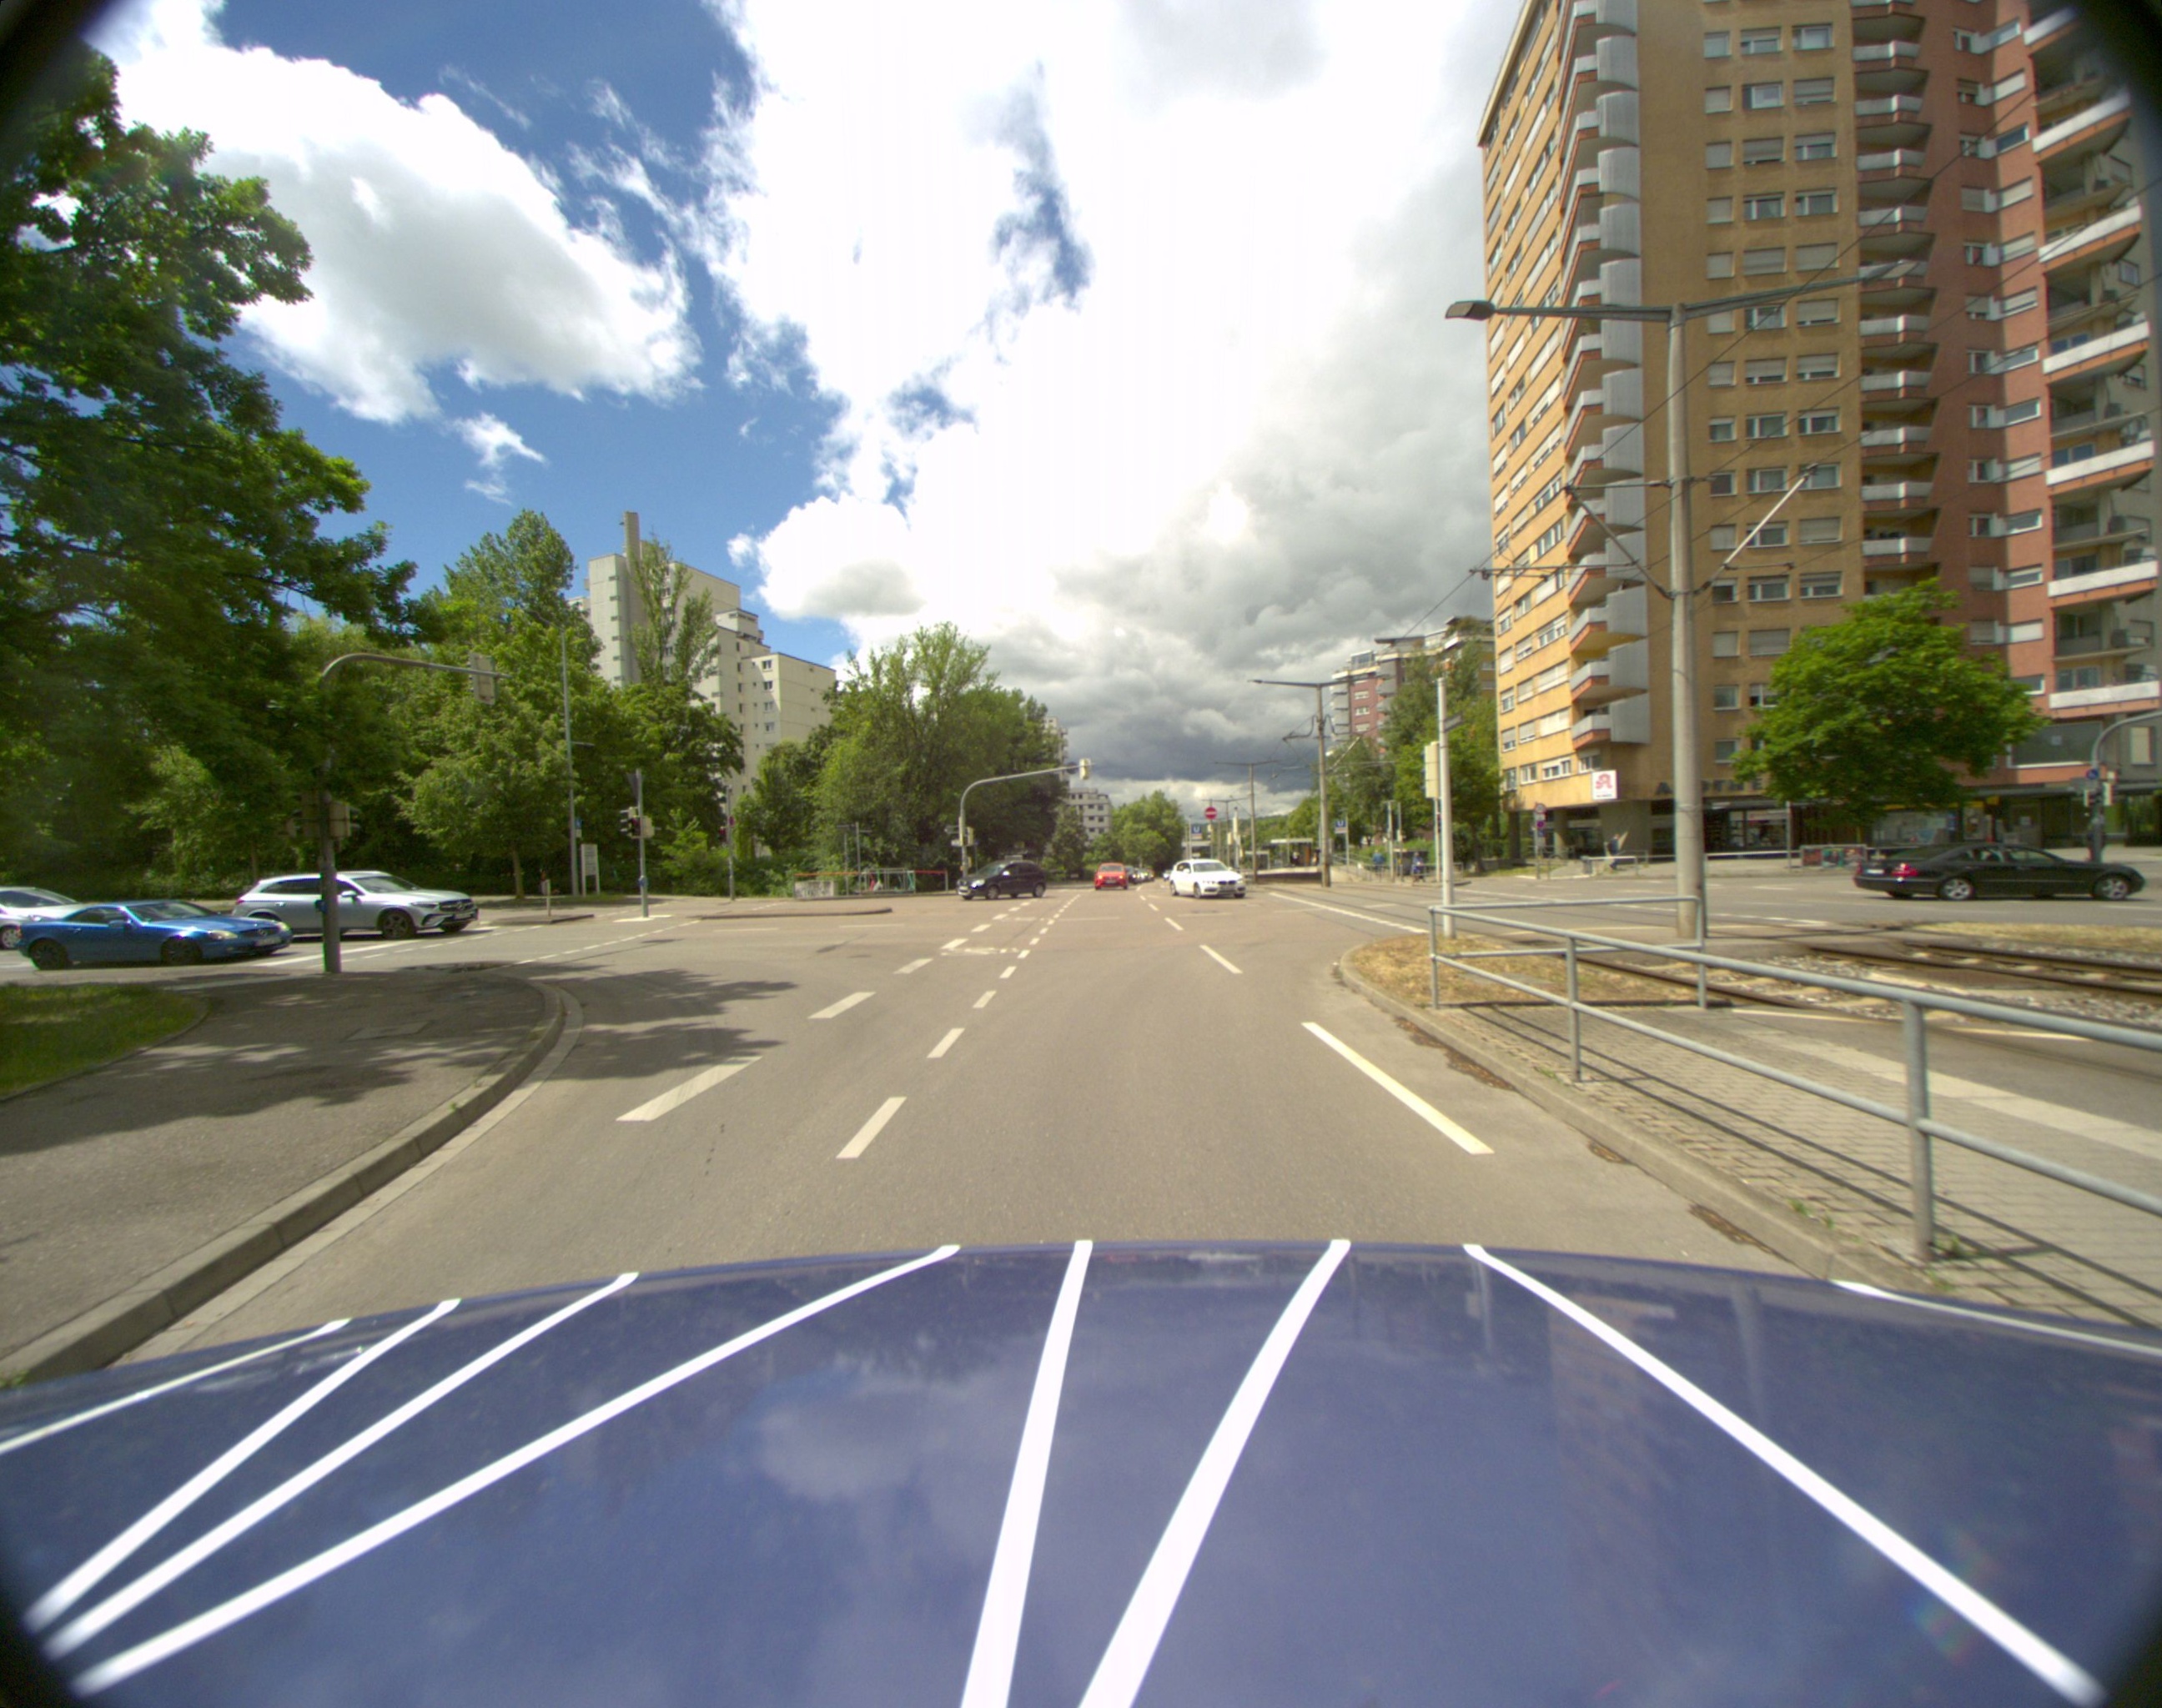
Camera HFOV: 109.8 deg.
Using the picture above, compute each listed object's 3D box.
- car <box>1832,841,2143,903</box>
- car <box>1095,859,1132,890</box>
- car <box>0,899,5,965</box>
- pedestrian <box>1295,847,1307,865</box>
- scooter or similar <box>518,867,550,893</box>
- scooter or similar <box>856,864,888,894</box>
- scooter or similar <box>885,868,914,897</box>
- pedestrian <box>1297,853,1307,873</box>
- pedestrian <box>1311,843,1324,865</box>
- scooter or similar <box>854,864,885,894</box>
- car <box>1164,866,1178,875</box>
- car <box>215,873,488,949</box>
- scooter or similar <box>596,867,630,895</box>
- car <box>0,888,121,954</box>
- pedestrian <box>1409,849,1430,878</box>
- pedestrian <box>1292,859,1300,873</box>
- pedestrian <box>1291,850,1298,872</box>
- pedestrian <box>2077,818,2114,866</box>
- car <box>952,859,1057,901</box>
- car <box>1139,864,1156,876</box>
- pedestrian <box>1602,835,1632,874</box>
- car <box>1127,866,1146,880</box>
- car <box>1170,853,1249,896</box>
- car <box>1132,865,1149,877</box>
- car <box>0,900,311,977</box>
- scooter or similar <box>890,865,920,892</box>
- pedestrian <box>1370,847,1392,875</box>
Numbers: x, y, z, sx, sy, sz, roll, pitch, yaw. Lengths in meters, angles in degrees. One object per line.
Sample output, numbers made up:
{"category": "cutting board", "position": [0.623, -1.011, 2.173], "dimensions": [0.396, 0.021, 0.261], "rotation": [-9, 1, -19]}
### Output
{"category": "car", "position": [22.180, 0.457, 18.853], "dimensions": [4.666, 1.390, 1.980], "rotation": [-1, 0, 15]}
{"category": "car", "position": [1.759, 1.075, 41.361], "dimensions": [1.819, 1.483, 4.000], "rotation": [-3, 0, 2]}
{"category": "car", "position": [-25.153, 1.730, 15.082], "dimensions": [4.402, 1.407, 1.950], "rotation": [-1, 2, -5]}
{"category": "pedestrian", "position": [19.652, 0.142, 67.985], "dimensions": [0.865, 1.596, 0.748], "rotation": [-1, 0, 4]}
{"category": "scooter or similar", "position": [-22.976, 1.105, 31.901], "dimensions": [1.113, 1.067, 0.411], "rotation": [-1, 0, 9]}
{"category": "scooter or similar", "position": [-8.667, 1.036, 31.543], "dimensions": [1.212, 1.227, 0.478], "rotation": [-1, 0, -23]}
{"category": "scooter or similar", "position": [-9.016, 1.411, 37.802], "dimensions": [1.212, 1.284, 0.534], "rotation": [-4, -3, -29]}
{"category": "pedestrian", "position": [20.690, 0.846, 71.258], "dimensions": [0.770, 1.920, 0.573], "rotation": [-1, 0, 3]}
{"category": "pedestrian", "position": [19.390, 0.004, 62.279], "dimensions": [0.865, 1.763, 0.748], "rotation": [-1, 0, 4]}
{"category": "scooter or similar", "position": [-9.067, 1.074, 32.584], "dimensions": [1.185, 1.227, 0.479], "rotation": [-1, 0, -8]}
{"category": "car", "position": [12.595, 2.331, 105.863], "dimensions": [1.804, 1.207, 4.025], "rotation": [-1, -1, 9]}
{"category": "car", "position": [-17.717, 1.340, 18.655], "dimensions": [4.654, 1.583, 1.922], "rotation": [-1, 2, -3]}
{"category": "scooter or similar", "position": [-19.797, 1.132, 32.145], "dimensions": [1.174, 1.175, 0.523], "rotation": [-1, 0, 9]}
{"category": "car", "position": [-26.287, 1.615, 18.325], "dimensions": [3.897, 1.405, 1.607], "rotation": [-1, 2, -5]}
{"category": "pedestrian", "position": [17.487, 0.487, 39.308], "dimensions": [0.722, 1.504, 0.648], "rotation": [-1, 0, -21]}
{"category": "pedestrian", "position": [20.793, 1.147, 73.437], "dimensions": [0.645, 1.406, 0.658], "rotation": [-1, 0, 5]}
{"category": "pedestrian", "position": [21.271, 0.721, 75.735], "dimensions": [0.532, 2.129, 0.608], "rotation": [-1, 0, 8]}
{"category": "pedestrian", "position": [38.712, -0.449, 28.999], "dimensions": [0.889, 1.801, 0.642], "rotation": [-1, 0, -22]}
{"category": "car", "position": [-2.993, 1.010, 30.167], "dimensions": [3.800, 1.529, 1.678], "rotation": [-1, 0, -36]}
{"category": "car", "position": [8.617, 2.071, 97.829], "dimensions": [1.844, 1.409, 4.003], "rotation": [-1, -1, 9]}
{"category": "pedestrian", "position": [27.070, 0.031, 38.399], "dimensions": [0.920, 1.923, 0.854], "rotation": [-1, 0, 4]}
{"category": "car", "position": [4.917, 1.661, 67.383], "dimensions": [1.605, 1.207, 3.773], "rotation": [-1, -1, 4]}
{"category": "car", "position": [4.736, 0.796, 28.640], "dimensions": [1.795, 1.442, 4.275], "rotation": [-1, -2, -7]}
{"category": "car", "position": [6.215, 1.776, 79.191], "dimensions": [1.605, 1.207, 3.774], "rotation": [-1, -1, 6]}
{"category": "car", "position": [-18.736, 1.677, 15.492], "dimensions": [3.970, 1.218, 1.912], "rotation": [-1, 2, -3]}
{"category": "scooter or similar", "position": [-7.714, 1.079, 33.314], "dimensions": [1.170, 1.188, 0.449], "rotation": [-1, 0, 9]}
{"category": "pedestrian", "position": [17.680, 0.404, 44.802], "dimensions": [0.910, 1.588, 0.721], "rotation": [-6, 0, 4]}
